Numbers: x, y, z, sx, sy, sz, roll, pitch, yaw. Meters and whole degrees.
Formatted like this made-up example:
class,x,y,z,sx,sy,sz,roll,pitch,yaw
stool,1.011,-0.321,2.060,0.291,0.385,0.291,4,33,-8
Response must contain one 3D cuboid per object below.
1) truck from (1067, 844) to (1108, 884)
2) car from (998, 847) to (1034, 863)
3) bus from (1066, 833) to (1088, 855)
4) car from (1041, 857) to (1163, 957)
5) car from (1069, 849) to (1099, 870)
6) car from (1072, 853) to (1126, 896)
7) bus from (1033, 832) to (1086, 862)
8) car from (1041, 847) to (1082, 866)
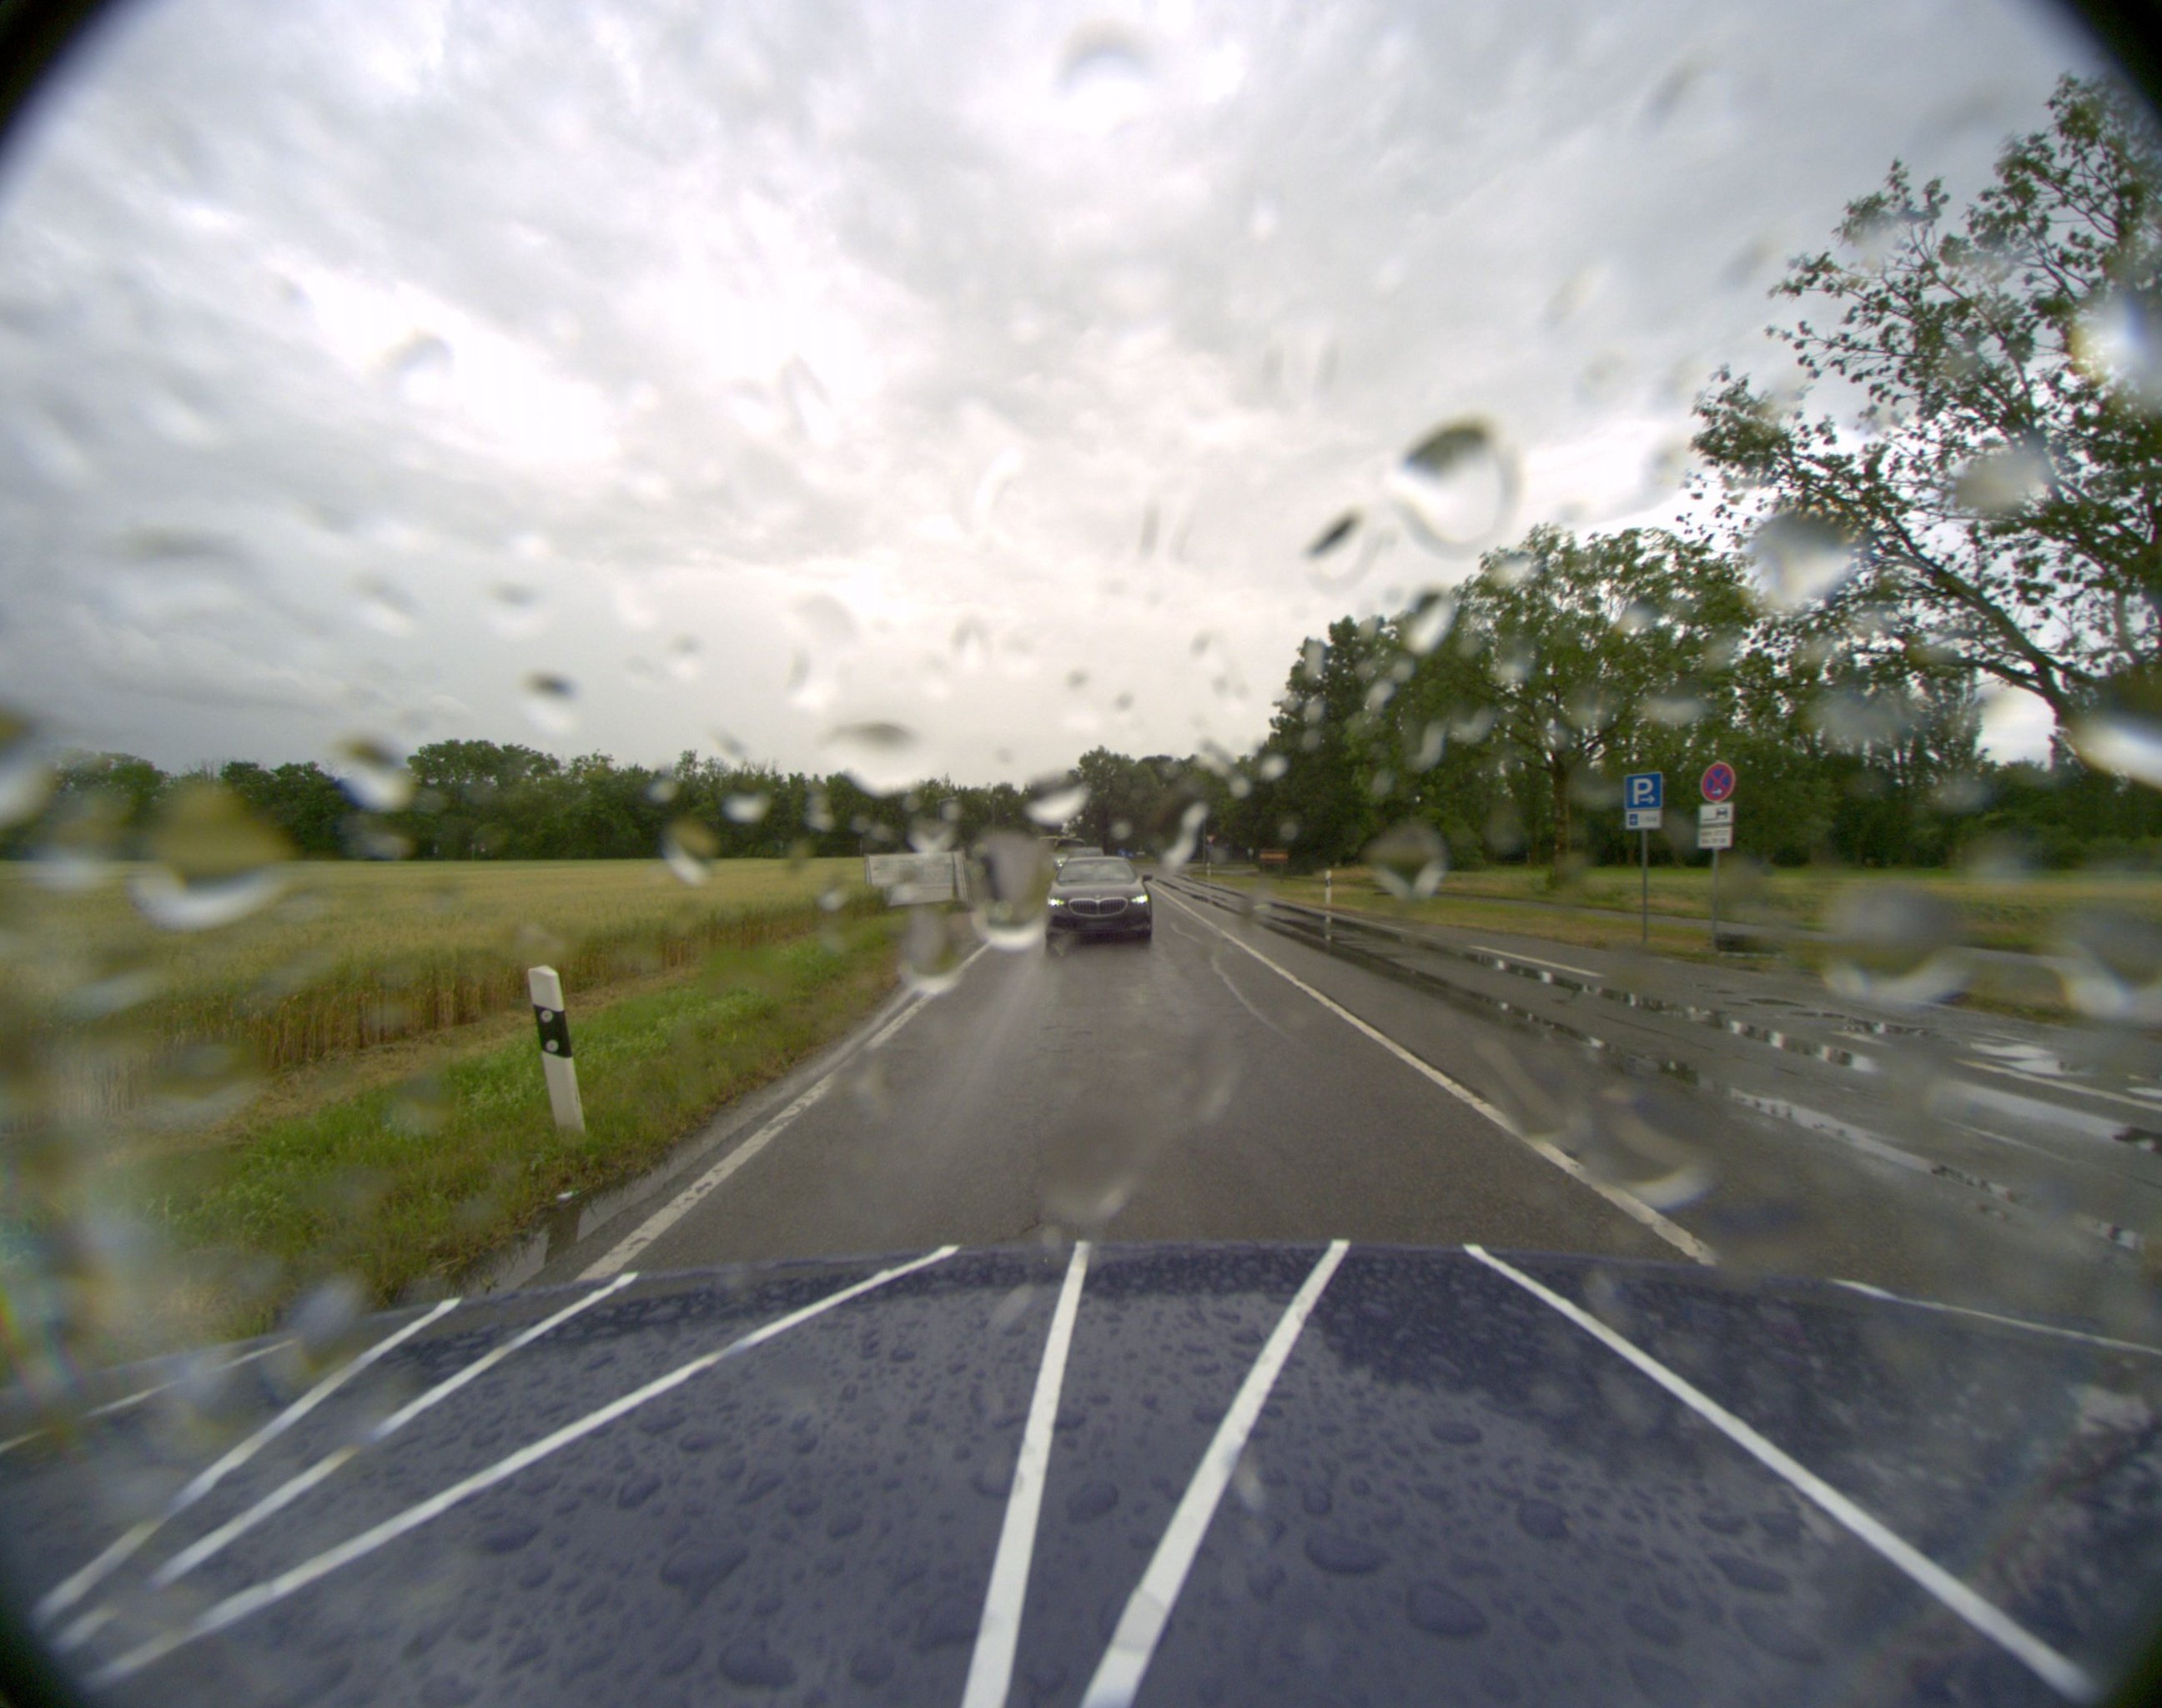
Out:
class,x,y,z,sx,sy,sz,roll,pitch,yaw
truck,0.340,0.494,43.394,2.075,2.050,5.768,-2,1,0
car,-6.475,0.119,74.942,1.896,1.522,4.492,-2,1,-28
bus,-0.551,-1.594,124.845,2.855,3.417,14.295,0,1,2
car,0.348,0.855,14.108,1.892,1.484,4.035,-2,0,0
car,0.183,0.381,58.420,1.892,1.522,5.253,-2,0,-3
car,0.635,0.752,29.727,1.892,1.482,4.191,-2,0,-1
bus,-2.617,-0.903,99.512,2.992,3.665,14.310,0,1,15
car,-1.767,0.215,66.447,1.895,1.522,4.492,-2,1,-26
